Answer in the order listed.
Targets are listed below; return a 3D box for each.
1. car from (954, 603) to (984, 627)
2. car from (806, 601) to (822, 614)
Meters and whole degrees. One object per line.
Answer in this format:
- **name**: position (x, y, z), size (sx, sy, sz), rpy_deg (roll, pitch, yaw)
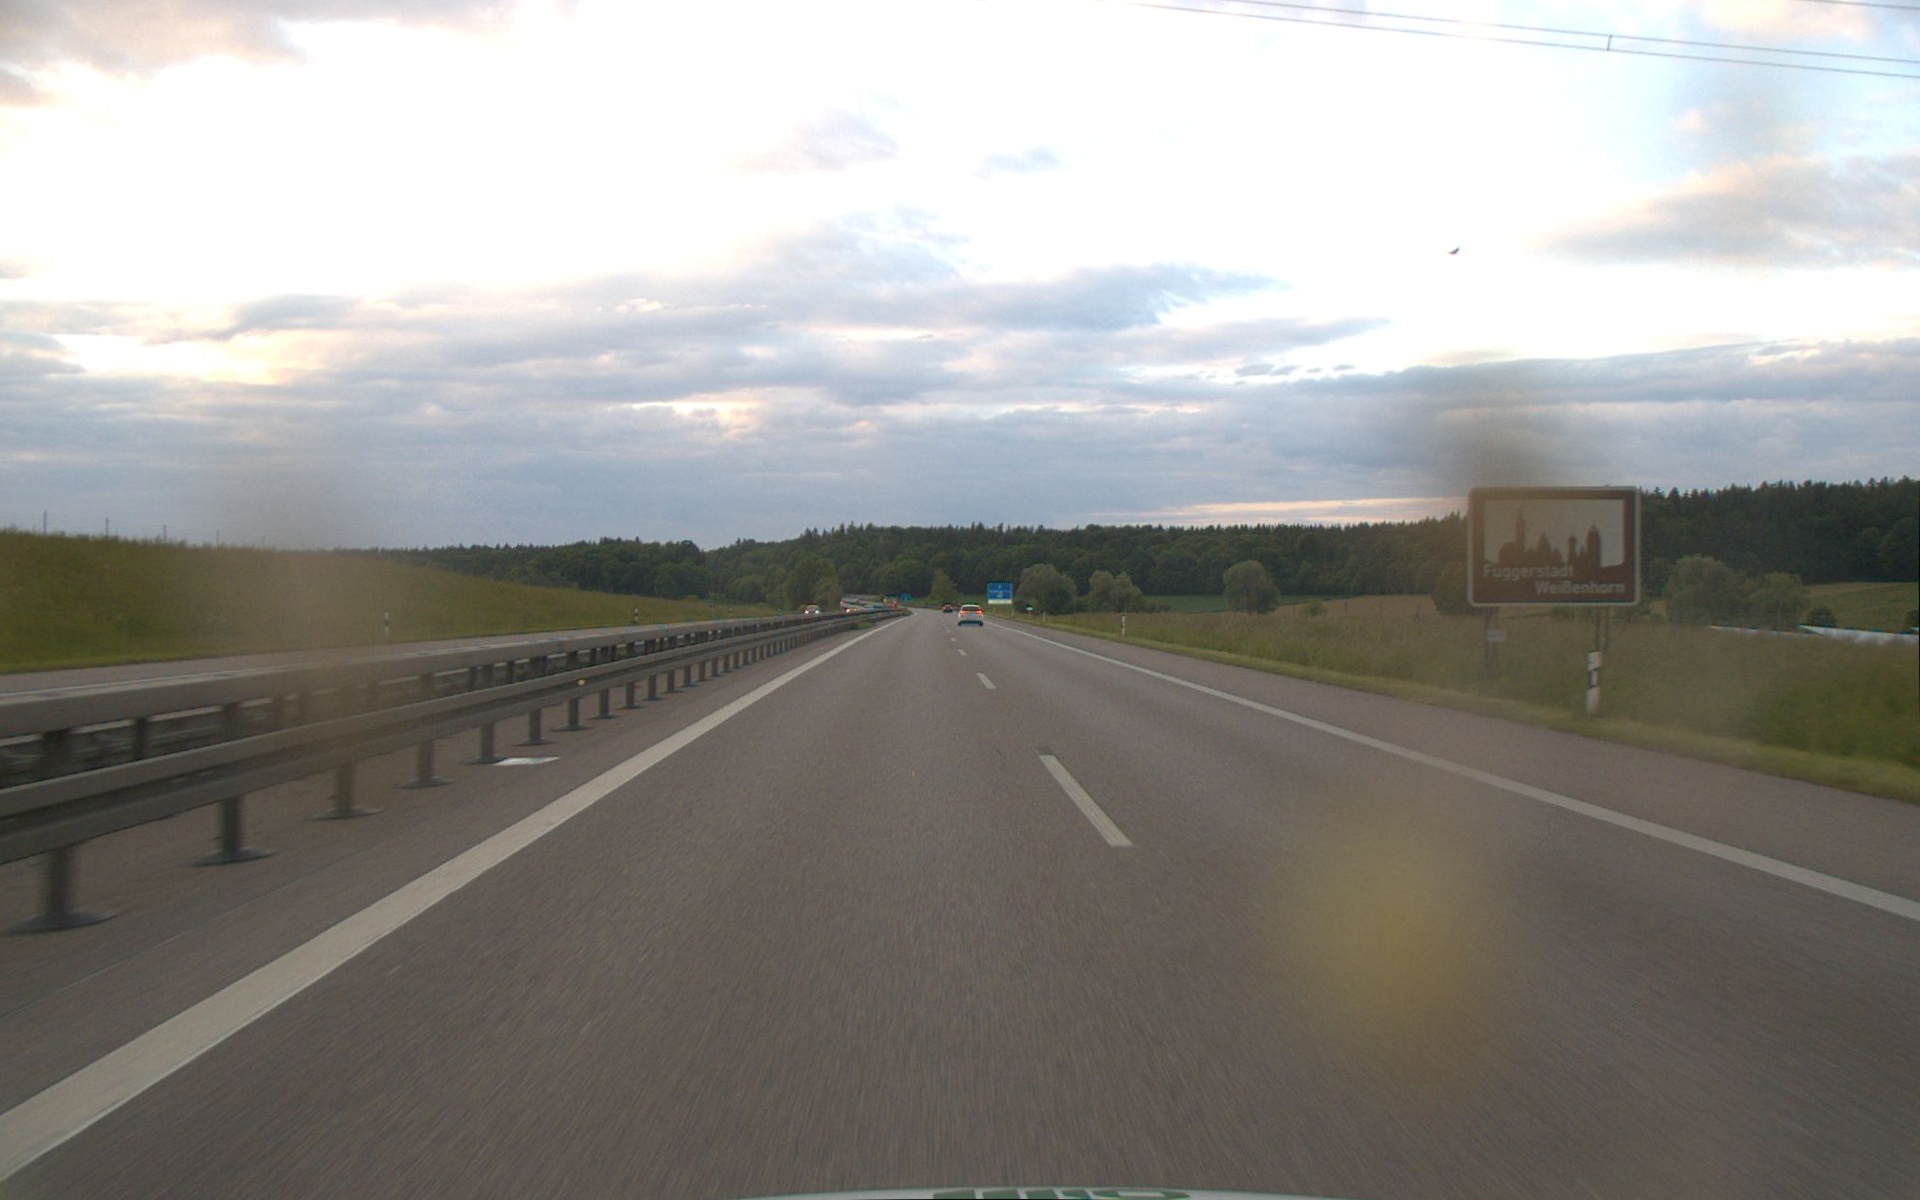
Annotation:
- **car**: position (0.608, 1.056, 116.777), size (1.913, 1.558, 4.078), rpy_deg (1, 0, -3)
- **car**: position (-17.127, 0.892, 194.356), size (1.497, 1.458, 4.433), rpy_deg (1, 0, -1)
